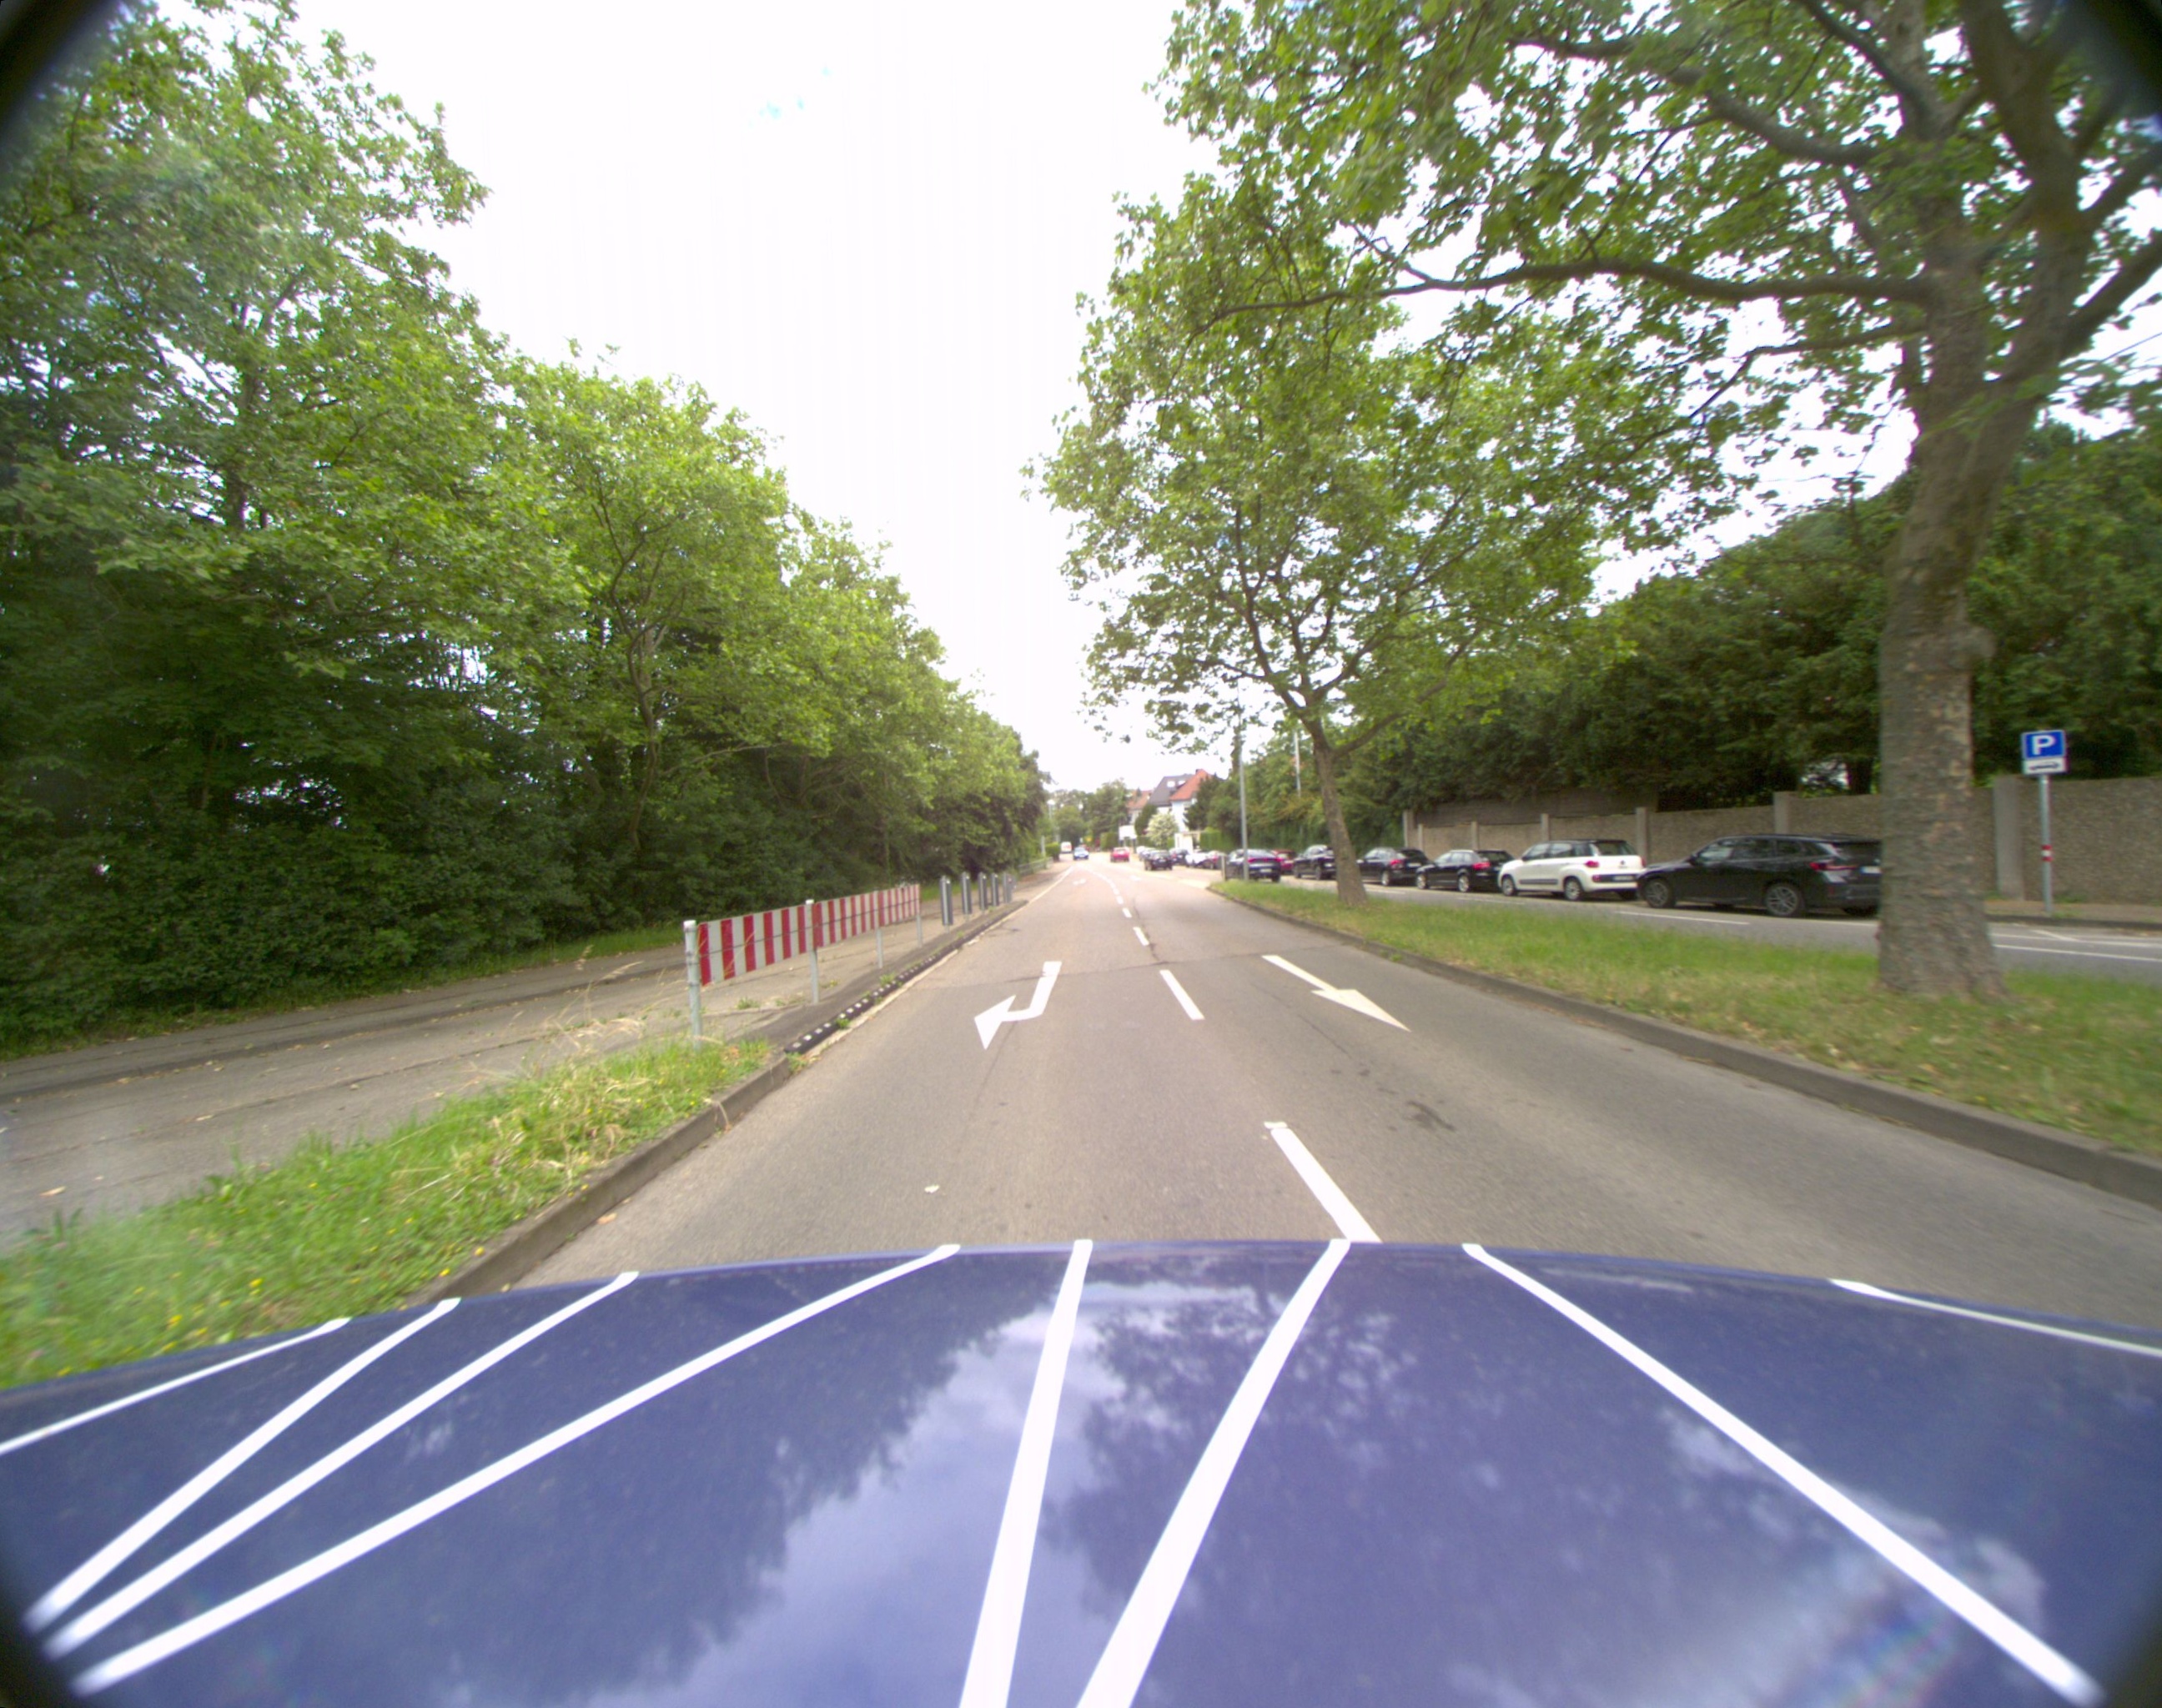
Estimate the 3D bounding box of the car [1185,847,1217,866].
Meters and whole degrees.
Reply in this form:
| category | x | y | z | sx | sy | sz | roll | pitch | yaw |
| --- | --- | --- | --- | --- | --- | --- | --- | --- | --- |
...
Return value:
| category | x | y | z | sx | sy | sz | roll | pitch | yaw |
| --- | --- | --- | --- | --- | --- | --- | --- | --- | --- |
| car | 9.843 | 0.180 | 62.571 | 1.686 | 1.496 | 3.830 | -1 | 0 | -5 |

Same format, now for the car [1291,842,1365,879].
| category | x | y | z | sx | sy | sz | roll | pitch | yaw |
| --- | --- | --- | --- | --- | --- | --- | --- | --- | --- |
| car | 11.867 | 0.306 | 36.785 | 1.797 | 1.594 | 4.036 | -3 | 0 | -7 |

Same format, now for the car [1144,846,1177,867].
| category | x | y | z | sx | sy | sz | roll | pitch | yaw |
| --- | --- | --- | --- | --- | --- | --- | --- | --- | --- |
| car | 6.280 | 0.199 | 60.405 | 1.844 | 1.606 | 3.912 | -1 | 0 | -4 |

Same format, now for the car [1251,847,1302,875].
| category | x | y | z | sx | sy | sz | roll | pitch | yaw |
| --- | --- | --- | --- | --- | --- | --- | --- | --- | --- |
| car | 11.232 | 0.398 | 43.936 | 1.686 | 1.496 | 3.830 | -1 | 0 | -5 |

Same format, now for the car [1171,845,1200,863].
| category | x | y | z | sx | sy | sz | roll | pitch | yaw |
| --- | --- | --- | --- | --- | --- | --- | --- | --- | --- |
| car | 9.261 | -0.019 | 67.383 | 1.686 | 1.496 | 3.830 | -1 | 0 | -5 |

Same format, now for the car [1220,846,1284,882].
| category | x | y | z | sx | sy | sz | roll | pitch | yaw |
| --- | --- | --- | --- | --- | --- | --- | --- | --- | --- |
| car | 8.045 | 0.448 | 36.127 | 1.796 | 1.606 | 4.586 | -1 | 0 | -3 |

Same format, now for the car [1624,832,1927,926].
| category | x | y | z | sx | sy | sz | roll | pitch | yaw |
| --- | --- | --- | --- | --- | --- | --- | --- | --- | --- |
| car | 13.784 | 0.440 | 15.531 | 1.797 | 1.606 | 4.459 | -1 | 0 | -7 |

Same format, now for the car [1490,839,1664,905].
| category | x | y | z | sx | sy | sz | roll | pitch | yaw |
| --- | --- | --- | --- | --- | --- | --- | --- | --- | --- |
| car | 13.477 | 0.457 | 21.004 | 1.797 | 1.606 | 4.216 | -1 | 0 | -5 |

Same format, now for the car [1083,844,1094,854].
| category | x | y | z | sx | sy | sz | roll | pitch | yaw |
| --- | --- | --- | --- | --- | --- | --- | --- | --- | --- |
| car | 1.318 | -0.907 | 130.107 | 1.671 | 1.536 | 4.000 | -3 | 0 | 1 |

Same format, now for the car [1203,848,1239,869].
| category | x | y | z | sx | sy | sz | roll | pitch | yaw |
| --- | --- | --- | --- | --- | --- | --- | --- | --- | --- |
| car | 10.440 | 0.301 | 56.926 | 1.686 | 1.496 | 3.830 | -1 | 0 | -5 |

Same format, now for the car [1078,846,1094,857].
| category | x | y | z | sx | sy | sz | roll | pitch | yaw |
| --- | --- | --- | --- | --- | --- | --- | --- | --- | --- |
| car | 0.624 | -0.367 | 103.213 | 1.796 | 1.420 | 4.146 | -1 | 0 | -4 |

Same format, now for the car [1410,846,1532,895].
| category | x | y | z | sx | sy | sz | roll | pitch | yaw |
| --- | --- | --- | --- | --- | --- | --- | --- | --- | --- |
| car | 13.049 | 0.512 | 25.755 | 1.797 | 1.496 | 4.036 | -1 | 0 | -5 |

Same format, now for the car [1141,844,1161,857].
| category | x | y | z | sx | sy | sz | roll | pitch | yaw |
| --- | --- | --- | --- | --- | --- | --- | --- | --- | --- |
| car | 7.807 | -0.392 | 84.808 | 1.686 | 1.321 | 3.831 | -4 | 0 | -1 |

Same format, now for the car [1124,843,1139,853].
| category | x | y | z | sx | sy | sz | roll | pitch | yaw |
| --- | --- | --- | --- | --- | --- | --- | --- | --- | --- |
| car | 6.698 | -0.782 | 101.612 | 1.686 | 1.321 | 3.831 | -4 | 0 | -1 |

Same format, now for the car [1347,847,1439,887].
| category | x | y | z | sx | sy | sz | roll | pitch | yaw |
| --- | --- | --- | --- | --- | --- | --- | --- | --- | --- |
| car | 12.625 | 0.498 | 31.004 | 1.797 | 1.496 | 4.036 | -1 | 0 | -5 |

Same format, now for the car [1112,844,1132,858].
| category | x | y | z | sx | sy | sz | roll | pitch | yaw |
| --- | --- | --- | --- | --- | --- | --- | --- | --- | --- |
| car | 4.650 | -0.322 | 85.959 | 1.686 | 1.496 | 3.830 | -1 | 0 | -5 |

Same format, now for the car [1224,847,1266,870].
| category | x | y | z | sx | sy | sz | roll | pitch | yaw |
| --- | --- | --- | --- | --- | --- | --- | --- | --- | --- |
| car | 11.016 | 0.306 | 51.147 | 1.686 | 1.496 | 3.830 | -1 | 0 | -5 |
